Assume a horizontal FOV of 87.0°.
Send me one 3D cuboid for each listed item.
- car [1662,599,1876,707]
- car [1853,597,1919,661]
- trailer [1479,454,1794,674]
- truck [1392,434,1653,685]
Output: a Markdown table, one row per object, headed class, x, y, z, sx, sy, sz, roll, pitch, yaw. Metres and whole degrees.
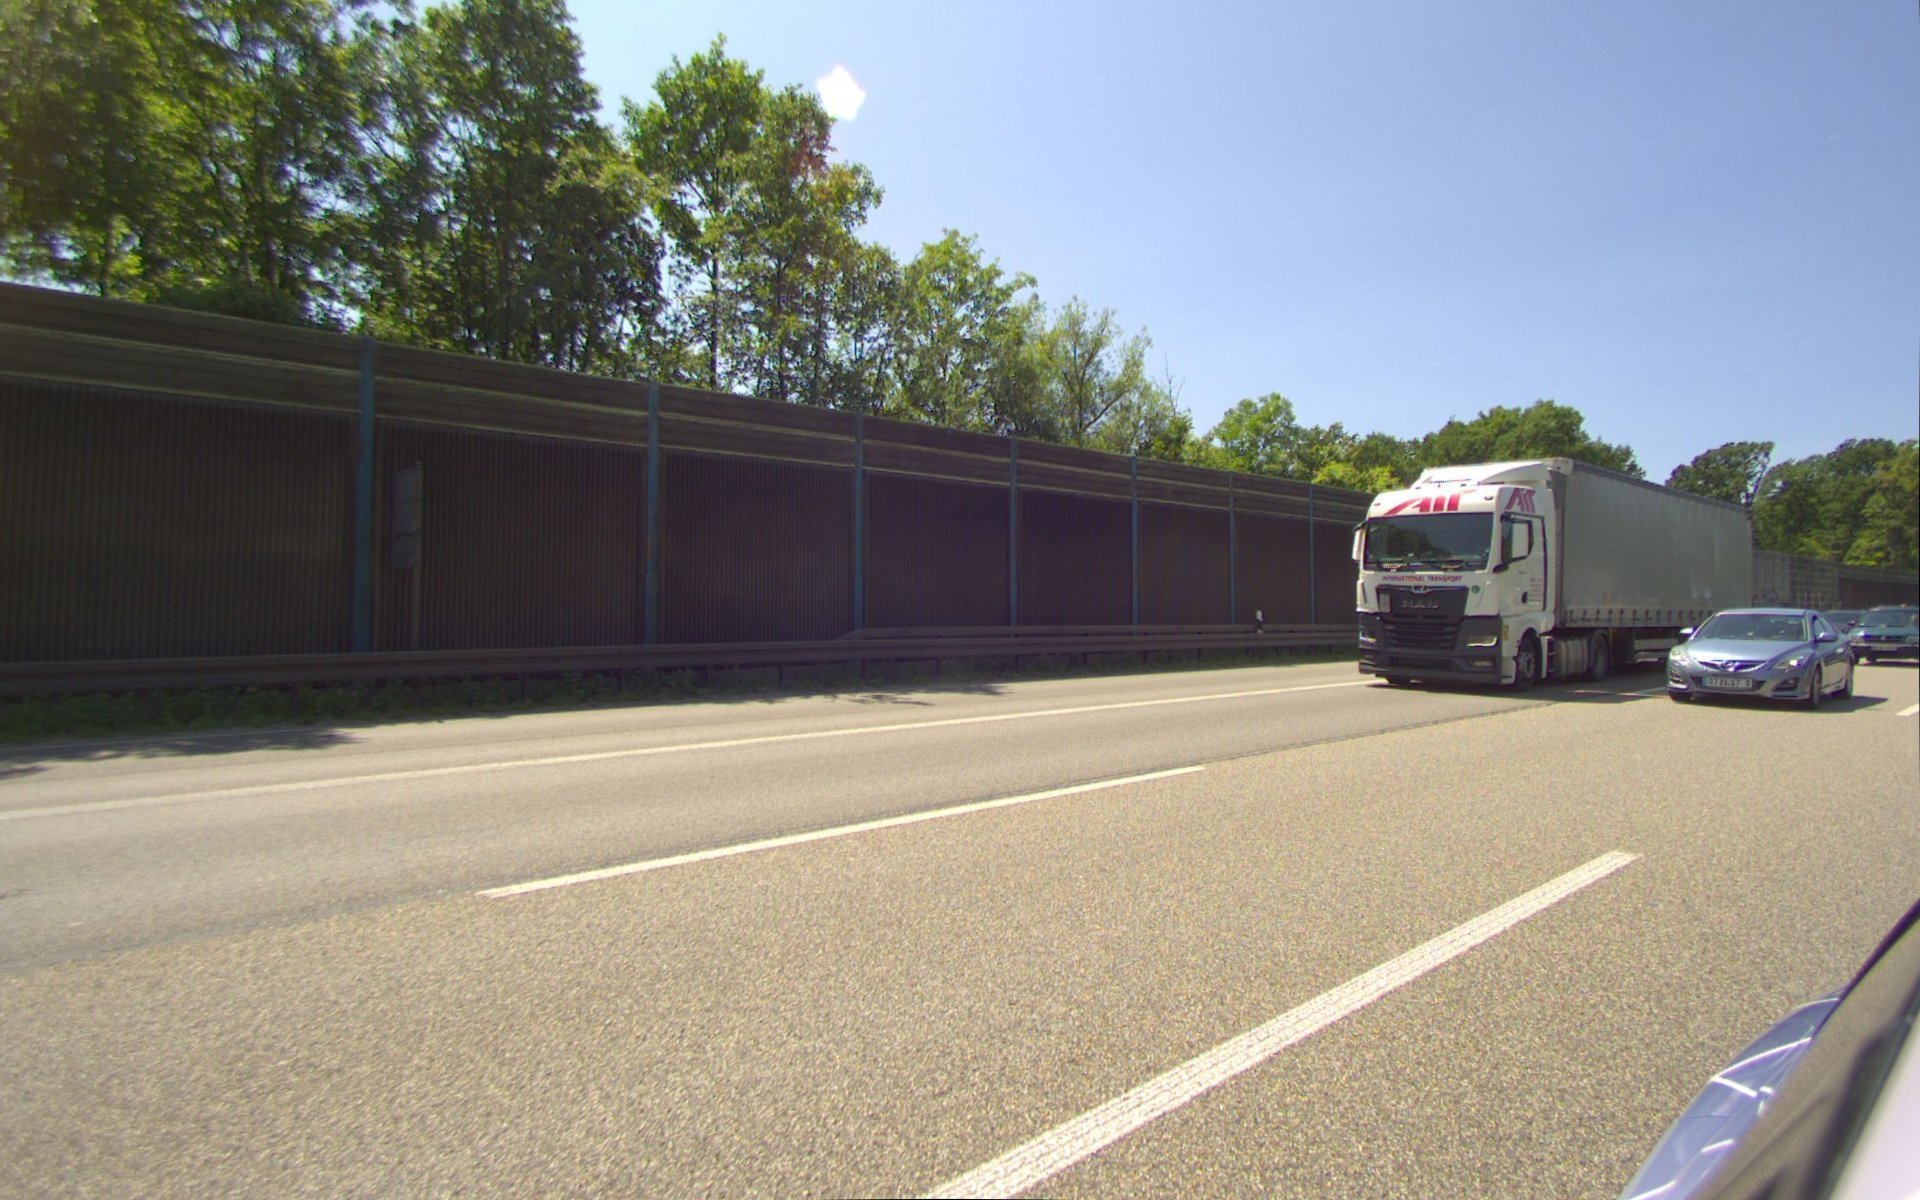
| class | x | y | z | sx | sy | sz | roll | pitch | yaw |
| --- | --- | --- | --- | --- | --- | --- | --- | --- | --- |
| car | 12.684 | 0.741 | 15.785 | 4.102 | 1.452 | 1.859 | 1 | -1 | -40 |
| car | 25.199 | 0.737 | 26.570 | 3.926 | 1.579 | 1.908 | 1 | -1 | -37 |
| trailer | 16.762 | -0.685 | 24.314 | 13.348 | 4.142 | 2.604 | 0 | 0 | -40 |
| truck | 10.929 | -0.678 | 19.490 | 5.453 | 4.142 | 2.604 | 0 | 0 | -39 |
